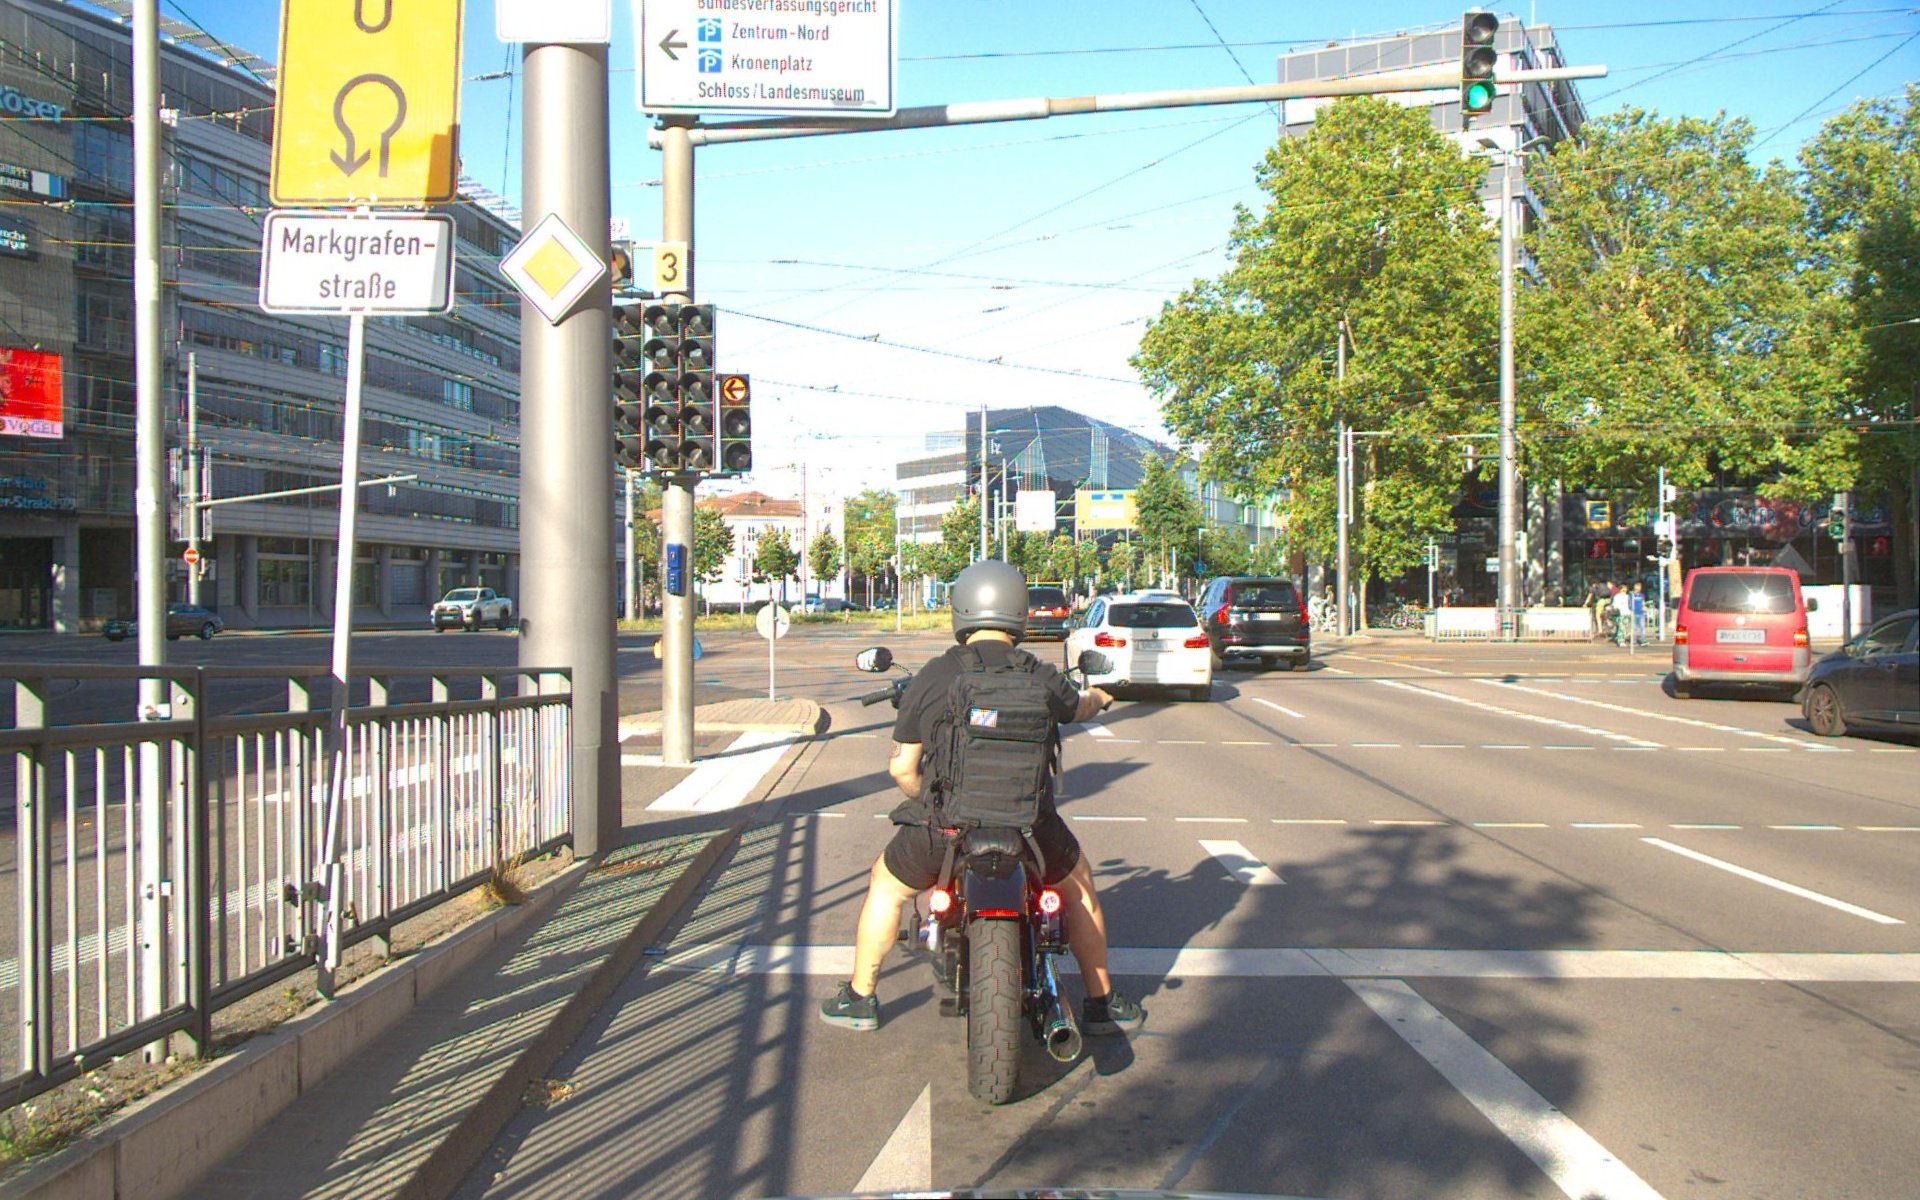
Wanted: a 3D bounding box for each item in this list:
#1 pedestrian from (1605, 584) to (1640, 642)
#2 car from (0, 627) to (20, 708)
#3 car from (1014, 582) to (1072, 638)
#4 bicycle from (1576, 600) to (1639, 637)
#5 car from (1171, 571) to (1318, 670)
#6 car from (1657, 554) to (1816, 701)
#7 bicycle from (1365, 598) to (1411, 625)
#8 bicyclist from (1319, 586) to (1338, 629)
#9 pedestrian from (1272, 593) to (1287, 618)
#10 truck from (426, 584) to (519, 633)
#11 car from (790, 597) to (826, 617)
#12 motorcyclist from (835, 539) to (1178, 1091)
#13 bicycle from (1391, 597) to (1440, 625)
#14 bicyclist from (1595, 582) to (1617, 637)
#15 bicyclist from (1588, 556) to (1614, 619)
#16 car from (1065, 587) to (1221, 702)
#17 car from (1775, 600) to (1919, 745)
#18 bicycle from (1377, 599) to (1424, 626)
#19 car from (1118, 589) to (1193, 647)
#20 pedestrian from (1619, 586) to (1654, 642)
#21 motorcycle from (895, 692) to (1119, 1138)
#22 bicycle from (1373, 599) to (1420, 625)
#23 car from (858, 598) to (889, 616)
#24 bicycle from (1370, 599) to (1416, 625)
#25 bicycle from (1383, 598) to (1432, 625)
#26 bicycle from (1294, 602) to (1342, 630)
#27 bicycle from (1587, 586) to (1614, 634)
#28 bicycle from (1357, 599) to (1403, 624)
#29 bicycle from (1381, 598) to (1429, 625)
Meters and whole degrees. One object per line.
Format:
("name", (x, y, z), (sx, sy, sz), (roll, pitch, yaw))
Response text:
("pedestrian", (18.098, 0.346, 45.170), (0.561, 1.559, 0.694), (2, -1, -34))
("car", (-14.511, 0.894, 22.464), (2.835, 1.081, 1.235), (1, -1, -22))
("car", (2.629, 0.332, 52.910), (1.766, 1.708, 4.042), (1, -1, 2))
("bicycle", (22.284, 0.649, 56.913), (2.001, 1.235, 0.421), (1, -1, -1))
("car", (5.448, 0.344, 32.260), (1.698, 1.762, 4.607), (1, 1, -5))
("car", (11.985, 0.392, 25.774), (1.766, 2.044, 4.474), (1, 0, 19))
("bicycle", (18.060, 0.490, 69.759), (1.842, 1.064, 0.360), (1, 0, -2))
("bicyclist", (14.563, 0.312, 65.396), (0.673, 1.702, 0.541), (0, -1, 18))
("pedestrian", (17.581, 0.320, 91.026), (0.802, 1.337, 0.638), (1, -1, 8))
("truck", (-20.599, 0.389, 70.153), (1.951, 1.912, 5.159), (-3, -1, 5))
("car", (-11.412, 0.513, 124.130), (1.786, 1.455, 4.533), (0, 0, 6))
("motorcyclist", (0.131, 0.631, 5.317), (1.009, 1.621, 0.873), (0, 0, -1))
("bicycle", (18.174, 0.441, 65.991), (1.842, 1.065, 0.360), (1, -1, -2))
("bicyclist", (22.219, 0.333, 56.921), (0.572, 1.870, 0.402), (1, -1, -1))
("bicyclist", (18.990, -0.375, 49.024), (0.683, 1.840, 0.728), (1, -1, 23))
("car", (2.547, 0.609, 23.961), (1.696, 1.482, 4.417), (1, -1, -1))
("car", (10.789, 0.782, 17.880), (1.698, 1.475, 4.037), (1, 0, -5))
("bicycle", (18.133, 0.497, 68.143), (1.842, 1.064, 0.360), (1, 0, -2))
("car", (5.751, 0.500, 49.101), (1.696, 1.626, 4.040), (1, 1, -1))
("pedestrian", (18.605, 0.385, 45.485), (0.561, 1.505, 0.694), (2, -1, -34))
("motorcycle", (0.110, 0.913, 5.579), (0.588, 1.054, 2.233), (1, 0, -1))
("bicycle", (18.136, 0.502, 68.775), (1.842, 1.065, 0.360), (1, -1, -2))
("car", (-7.619, 0.620, 145.635), (1.786, 1.455, 4.245), (1, -1, 11))
("bicycle", (18.129, 0.494, 69.261), (1.842, 1.064, 0.360), (1, 0, -2))
("bicycle", (18.064, 0.458, 66.770), (1.842, 1.065, 0.360), (1, -1, -2))
("bicycle", (14.190, 0.634, 65.512), (1.831, 1.062, 0.537), (0, -1, 18))
("bicycle", (19.002, 0.309, 49.096), (0.711, 1.391, 2.917), (1, -1, 21))
("bicycle", (18.004, 0.490, 70.909), (1.842, 1.064, 0.360), (1, 0, -2))
("bicycle", (18.172, 0.481, 67.588), (1.842, 1.065, 0.360), (1, -1, -2))
